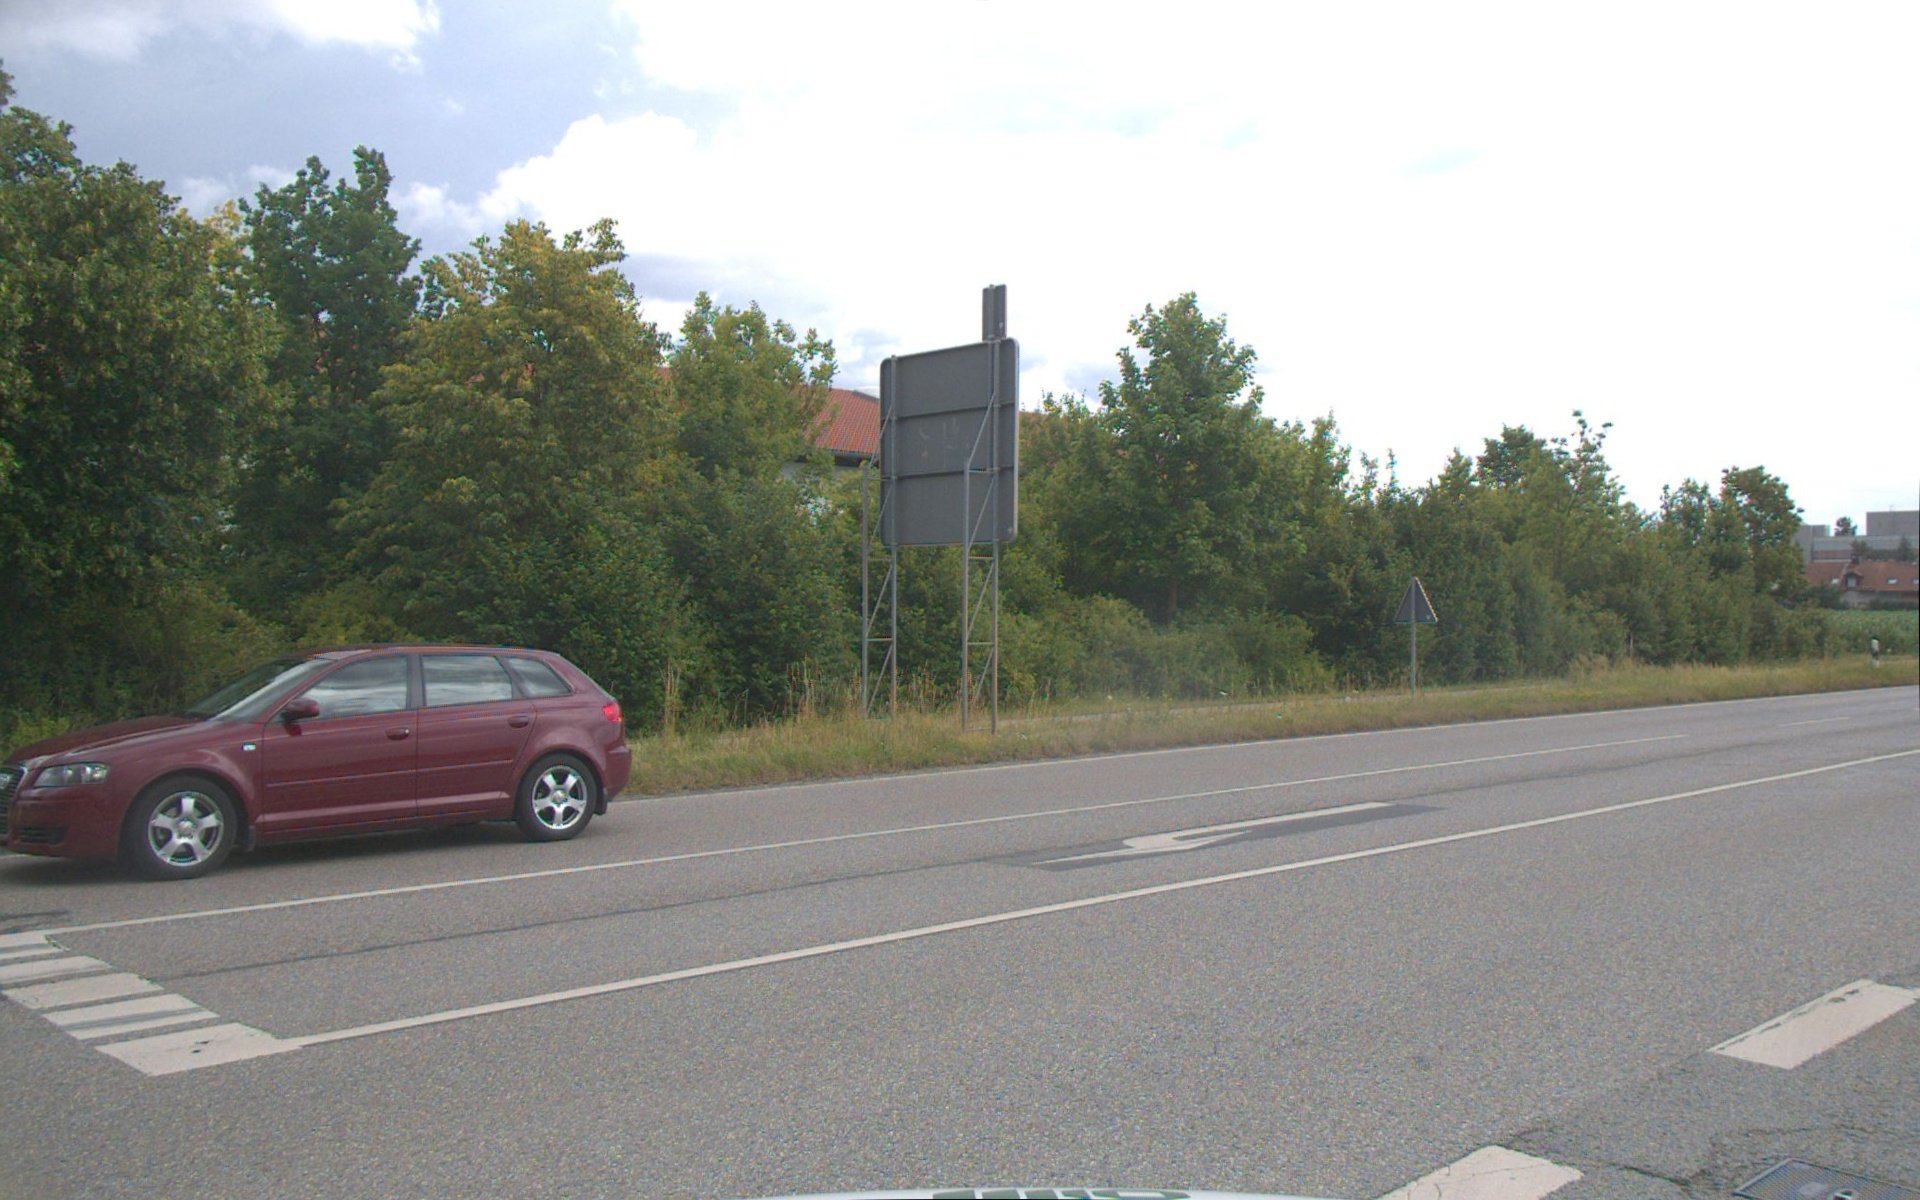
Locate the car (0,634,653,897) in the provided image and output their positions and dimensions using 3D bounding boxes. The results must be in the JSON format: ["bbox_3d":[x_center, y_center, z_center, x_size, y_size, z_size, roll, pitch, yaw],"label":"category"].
[{"bbox_3d":[-4.302,0.993,11.459,4.057,1.426,1.651,0,-1,-44],"label":"car"}]
